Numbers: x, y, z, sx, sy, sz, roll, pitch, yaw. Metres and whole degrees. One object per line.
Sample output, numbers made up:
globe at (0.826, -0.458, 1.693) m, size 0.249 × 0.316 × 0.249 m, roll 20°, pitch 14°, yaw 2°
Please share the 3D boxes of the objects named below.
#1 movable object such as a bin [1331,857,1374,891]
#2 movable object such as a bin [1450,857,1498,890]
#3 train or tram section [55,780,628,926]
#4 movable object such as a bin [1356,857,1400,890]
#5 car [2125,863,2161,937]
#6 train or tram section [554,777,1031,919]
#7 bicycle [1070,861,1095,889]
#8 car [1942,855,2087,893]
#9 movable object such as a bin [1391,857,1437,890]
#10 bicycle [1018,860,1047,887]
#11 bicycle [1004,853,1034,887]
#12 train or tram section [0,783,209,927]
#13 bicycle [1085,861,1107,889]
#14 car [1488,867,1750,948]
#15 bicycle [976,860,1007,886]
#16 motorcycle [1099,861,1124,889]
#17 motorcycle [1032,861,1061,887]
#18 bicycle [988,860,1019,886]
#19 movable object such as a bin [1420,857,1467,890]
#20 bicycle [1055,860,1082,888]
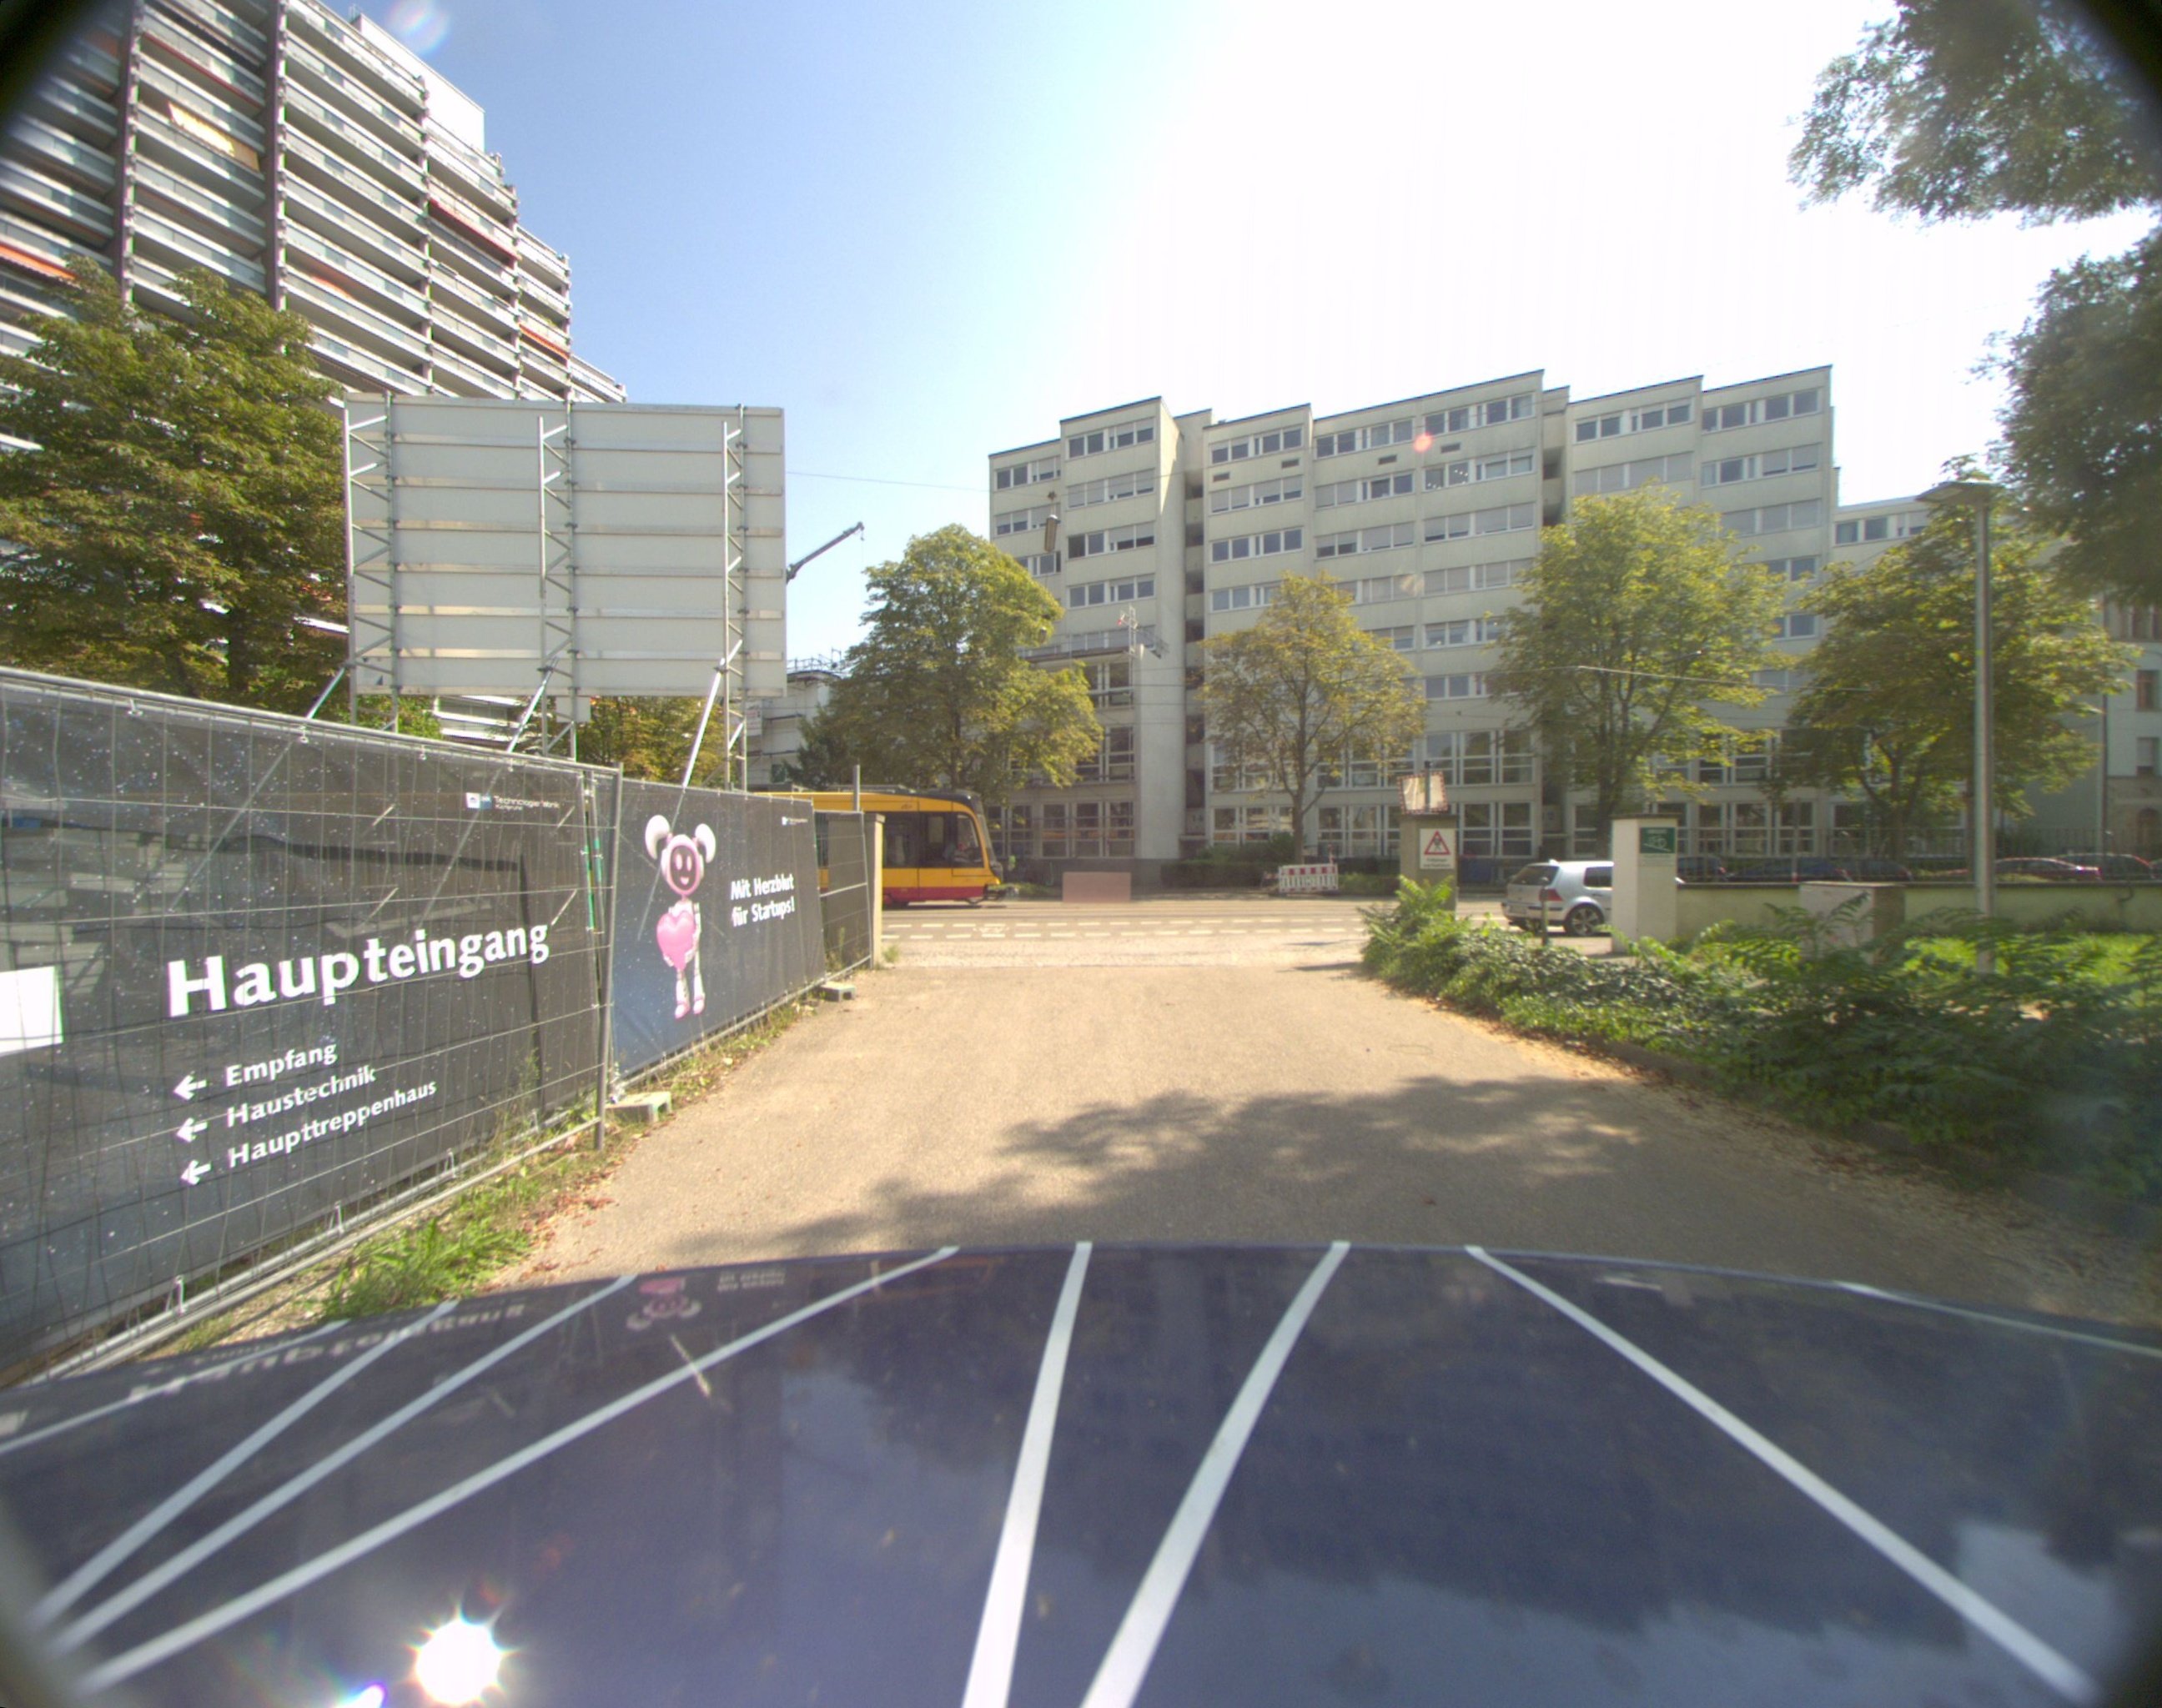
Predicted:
movable object such as a bin at (12.730, 0.915, 35.667) m, size 1.353 × 1.550 × 1.687 m, roll 0°, pitch 0°, yaw -4°
movable object such as a bin at (18.810, 0.910, 36.433) m, size 1.353 × 1.550 × 1.687 m, roll 0°, pitch 0°, yaw -4°
train or tram section at (-20.246, -0.062, 21.597) m, size 12.405 × 3.683 × 3.507 m, roll -1°, pitch 1°, yaw -2°
movable object such as a bin at (14.140, 0.914, 36.202) m, size 1.353 × 1.550 × 1.687 m, roll 0°, pitch 0°, yaw -4°
car at (23.883, 0.959, 15.282) m, size 3.639 × 1.503 × 1.645 m, roll 0°, pitch 1°, yaw -3°
train or tram section at (-7.756, -0.195, 22.107) m, size 12.405 × 3.683 × 3.507 m, roll -1°, pitch 1°, yaw -2°
bicycle at (0.105, 0.955, 35.622) m, size 0.621 × 1.162 × 2.348 m, roll 1°, pitch 2°, yaw 14°
car at (38.871, 0.779, 31.791) m, size 1.680 × 1.443 × 3.660 m, roll -1°, pitch 1°, yaw -44°
movable object such as a bin at (15.792, 0.909, 36.102) m, size 1.353 × 1.550 × 1.687 m, roll 0°, pitch 0°, yaw -4°
bicycle at (-2.314, 0.909, 36.361) m, size 0.600 × 1.162 × 2.348 m, roll 1°, pitch 2°, yaw 17°
bicycle at (-2.954, 0.728, 36.557) m, size 0.600 × 1.517 × 2.348 m, roll 1°, pitch 2°, yaw 17°
train or tram section at (-32.704, 0.063, 21.087) m, size 12.405 × 3.683 × 3.507 m, roll -1°, pitch 1°, yaw -2°
bicycle at (0.717, 0.950, 35.464) m, size 0.561 × 1.162 × 2.348 m, roll 1°, pitch 2°, yaw 14°
car at (10.086, 0.972, 14.454) m, size 3.730 × 1.437 × 1.797 m, roll 0°, pitch -1°, yaw -1°
bicycle at (-4.335, 0.908, 36.963) m, size 0.600 × 1.153 × 2.348 m, roll 1°, pitch 2°, yaw 17°
motorcycle at (1.445, 0.946, 35.389) m, size 0.694 × 1.176 × 1.847 m, roll 1°, pitch 2°, yaw 17°
motorcycle at (-1.613, 0.940, 36.247) m, size 0.742 × 1.148 × 2.009 m, roll 1°, pitch 2°, yaw 17°
bicycle at (-3.732, 0.908, 36.787) m, size 0.600 × 1.153 × 2.348 m, roll 1°, pitch 2°, yaw 17°
movable object such as a bin at (17.336, 0.900, 36.370) m, size 1.353 × 1.550 × 1.687 m, roll 0°, pitch 0°, yaw -4°
bicycle at (-0.569, 0.922, 35.769) m, size 0.621 × 1.162 × 2.348 m, roll 1°, pitch 2°, yaw 15°
